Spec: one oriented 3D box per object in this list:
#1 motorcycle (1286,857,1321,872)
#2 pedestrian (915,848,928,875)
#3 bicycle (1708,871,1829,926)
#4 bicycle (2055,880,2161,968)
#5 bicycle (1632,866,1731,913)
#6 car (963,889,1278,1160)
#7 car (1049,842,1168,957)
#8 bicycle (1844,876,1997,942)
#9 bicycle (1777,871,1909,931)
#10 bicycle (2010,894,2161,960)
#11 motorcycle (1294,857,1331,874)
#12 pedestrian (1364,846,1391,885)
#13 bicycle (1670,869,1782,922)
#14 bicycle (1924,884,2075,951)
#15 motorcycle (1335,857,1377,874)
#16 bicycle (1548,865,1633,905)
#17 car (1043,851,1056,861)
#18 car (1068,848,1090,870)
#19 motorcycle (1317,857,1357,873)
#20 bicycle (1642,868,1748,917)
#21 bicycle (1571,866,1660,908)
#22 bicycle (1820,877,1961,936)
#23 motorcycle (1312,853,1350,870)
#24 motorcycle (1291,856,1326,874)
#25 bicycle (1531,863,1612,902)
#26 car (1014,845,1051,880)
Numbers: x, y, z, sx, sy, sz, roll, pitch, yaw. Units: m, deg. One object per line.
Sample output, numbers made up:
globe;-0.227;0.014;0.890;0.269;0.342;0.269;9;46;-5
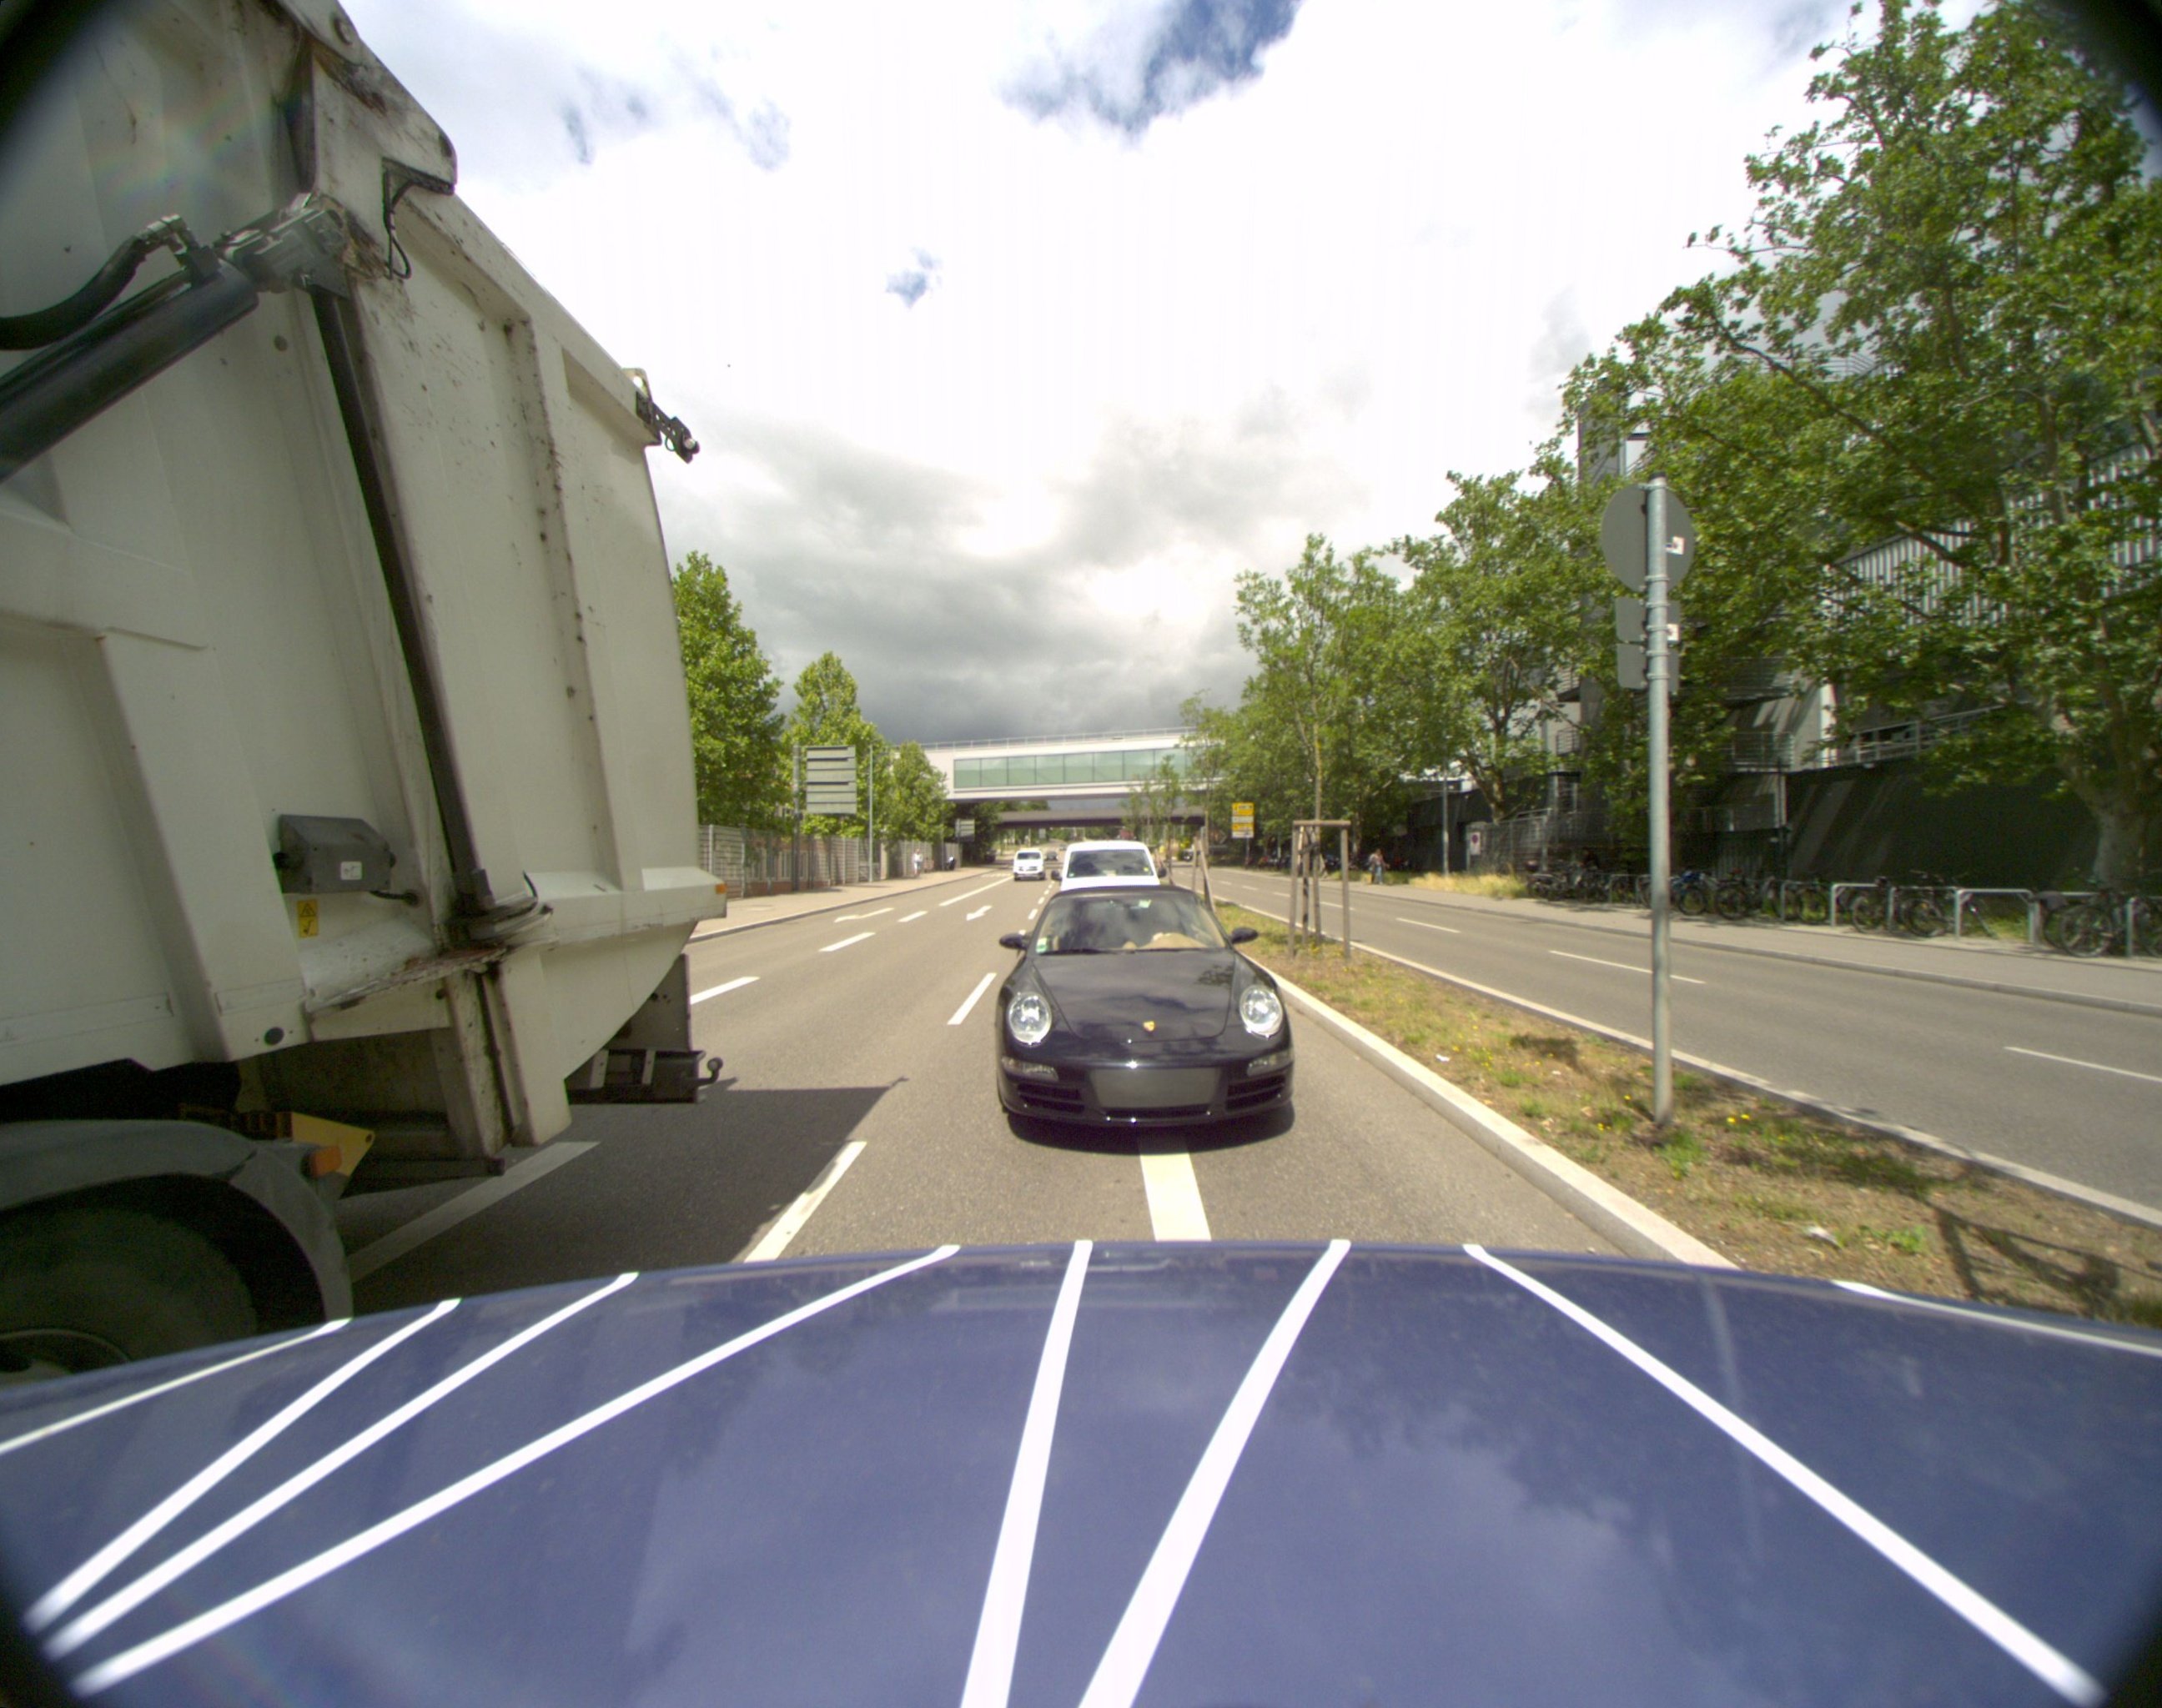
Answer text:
motorcycle;14.626;0.679;49.881;2.133;0.963;0.534;-1;0;1
pedestrian;-11.452;0.545;54.457;0.739;1.901;0.658;-2;1;-5
bicycle;14.502;0.939;16.058;2.129;1.104;0.382;-1;1;3
bicycle;14.355;0.924;10.235;1.993;1.121;0.382;-1;1;-1
bicycle;15.067;0.890;19.084;2.129;1.104;0.382;-1;1;3
car;0.242;1.034;6.100;1.710;1.280;3.806;-1;0;1
car;0.477;0.727;14.688;1.862;1.800;4.906;-1;0;1
bicycle;14.580;0.953;13.219;2.129;1.089;0.382;-1;1;3
bicycle;15.043;0.922;15.019;2.129;1.104;0.382;-1;1;3
bicycle;14.958;1.068;11.238;1.993;0.885;0.382;-1;1;-1
motorcycle;14.524;0.708;47.597;2.133;0.963;0.534;-1;0;1
pedestrian;13.125;0.491;33.639;0.900;1.710;0.673;-1;1;1
bicycle;14.481;0.928;17.082;2.129;1.104;0.382;-1;1;3
bicycle;14.754;1.010;12.218;1.993;0.992;0.382;-1;1;-1
motorcycle;15.331;0.644;42.345;2.133;0.893;0.534;-1;0;1
bicycle;14.755;0.897;22.019;2.129;1.104;0.382;-1;1;3
car;-4.873;0.302;116.390;1.862;1.369;4.356;-1;0;-1
car;-0.138;0.435;67.396;1.862;1.800;4.357;-3;0;1
motorcycle;15.032;0.667;44.628;2.133;0.880;0.534;-1;0;1
bicycle;14.506;0.903;17.969;2.129;1.104;0.382;-1;1;3
bicycle;14.825;0.910;21.096;2.129;1.104;0.382;-1;1;3
bicycle;15.013;0.965;14.113;2.129;1.025;0.382;-1;1;3
motorcycle;15.030;0.461;45.694;2.133;0.963;0.534;-1;0;1
motorcycle;14.694;0.696;49.104;2.133;1.131;0.534;-1;0;1
bicycle;14.751;0.861;22.860;2.129;1.104;0.382;-1;1;3
car;-3.082;0.517;48.980;1.925;2.082;4.657;-1;0;2
